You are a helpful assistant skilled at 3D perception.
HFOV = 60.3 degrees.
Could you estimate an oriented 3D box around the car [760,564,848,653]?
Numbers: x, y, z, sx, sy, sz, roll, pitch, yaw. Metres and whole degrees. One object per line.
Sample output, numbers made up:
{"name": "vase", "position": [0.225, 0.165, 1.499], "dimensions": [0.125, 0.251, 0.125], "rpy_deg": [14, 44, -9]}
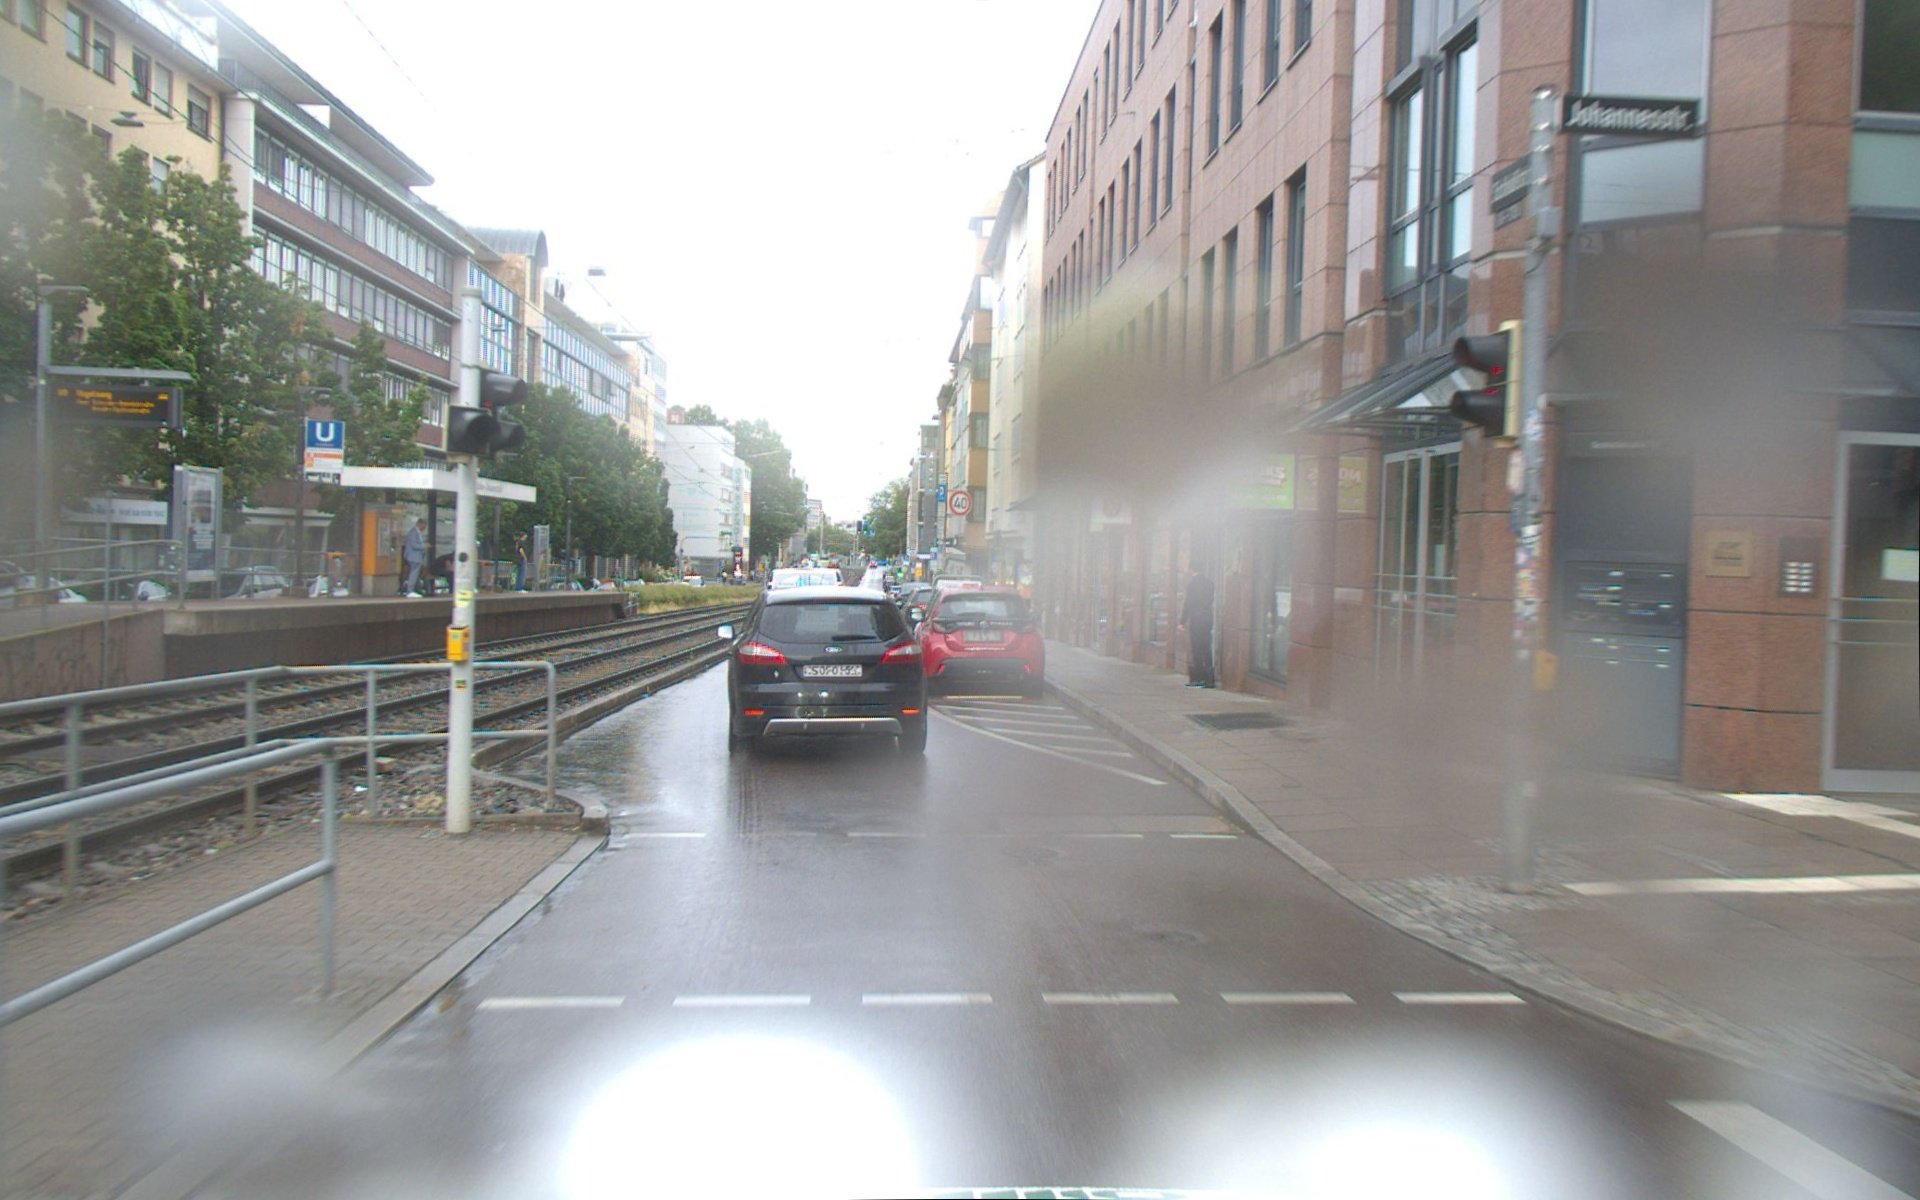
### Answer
{"name": "car", "position": [-3.600, 0.188, 38.099], "dimensions": [1.870, 1.897, 4.568], "rpy_deg": [1, 0, -6]}

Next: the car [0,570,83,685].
{"name": "car", "position": [-14.333, 0.377, 22.985], "dimensions": [1.770, 1.605, 5.019], "rpy_deg": [0, 0, -2]}

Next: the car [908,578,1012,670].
{"name": "car", "position": [-0.059, 0.412, 29.409], "dimensions": [1.664, 1.488, 3.865], "rpy_deg": [-1, 0, -2]}

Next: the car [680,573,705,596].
{"name": "car", "position": [-22.817, -1.287, 141.128], "dimensions": [1.870, 1.897, 4.568], "rpy_deg": [1, 0, -6]}

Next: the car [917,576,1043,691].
{"name": "car", "position": [0.223, 0.463, 24.179], "dimensions": [1.664, 1.505, 3.866], "rpy_deg": [-1, 0, -1]}

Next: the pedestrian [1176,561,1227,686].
{"name": "pedestrian", "position": [3.316, 0.323, 22.746], "dimensions": [0.589, 1.688, 0.625], "rpy_deg": [0, -1, -3]}

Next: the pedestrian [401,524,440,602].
{"name": "pedestrian", "position": [-12.171, -0.825, 37.328], "dimensions": [0.643, 1.741, 0.849], "rpy_deg": [1, 0, -5]}

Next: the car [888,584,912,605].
{"name": "car", "position": [-4.772, -0.440, 132.710], "dimensions": [1.868, 1.662, 4.572], "rpy_deg": [1, 0, -2]}

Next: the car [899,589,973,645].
{"name": "car", "position": [-0.730, 0.444, 46.936], "dimensions": [1.739, 1.494, 4.604], "rpy_deg": [0, 0, -5]}

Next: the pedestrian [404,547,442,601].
{"name": "pedestrian", "position": [-12.788, -0.619, 39.394], "dimensions": [0.679, 1.271, 0.883], "rpy_deg": [1, 0, -5]}

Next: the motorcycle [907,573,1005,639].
{"name": "motorcycle", "position": [-0.084, 0.129, 36.915], "dimensions": [2.039, 1.432, 0.799], "rpy_deg": [0, -1, 15]}

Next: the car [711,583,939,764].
{"name": "car", "position": [-1.188, 0.622, 15.480], "dimensions": [1.868, 1.488, 3.443], "rpy_deg": [1, 0, -2]}

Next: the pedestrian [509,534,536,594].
{"name": "pedestrian", "position": [-13.389, -1.091, 50.657], "dimensions": [0.643, 1.833, 0.849], "rpy_deg": [1, 0, -5]}

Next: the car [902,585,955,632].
{"name": "car", "position": [-1.210, 0.280, 61.887], "dimensions": [1.771, 1.660, 5.166], "rpy_deg": [0, 0, -3]}

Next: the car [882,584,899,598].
{"name": "car", "position": [-8.154, -1.036, 194.655], "dimensions": [1.868, 1.662, 4.572], "rpy_deg": [1, 0, -2]}

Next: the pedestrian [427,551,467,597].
{"name": "pedestrian", "position": [-12.963, -0.655, 41.820], "dimensions": [0.877, 1.143, 0.847], "rpy_deg": [1, 0, -14]}

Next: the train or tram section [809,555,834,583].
{"name": "train or tram section", "position": [-19.596, -4.318, 233.797], "dimensions": [3.445, 3.843, 11.319], "rpy_deg": [0, 0, -5]}
